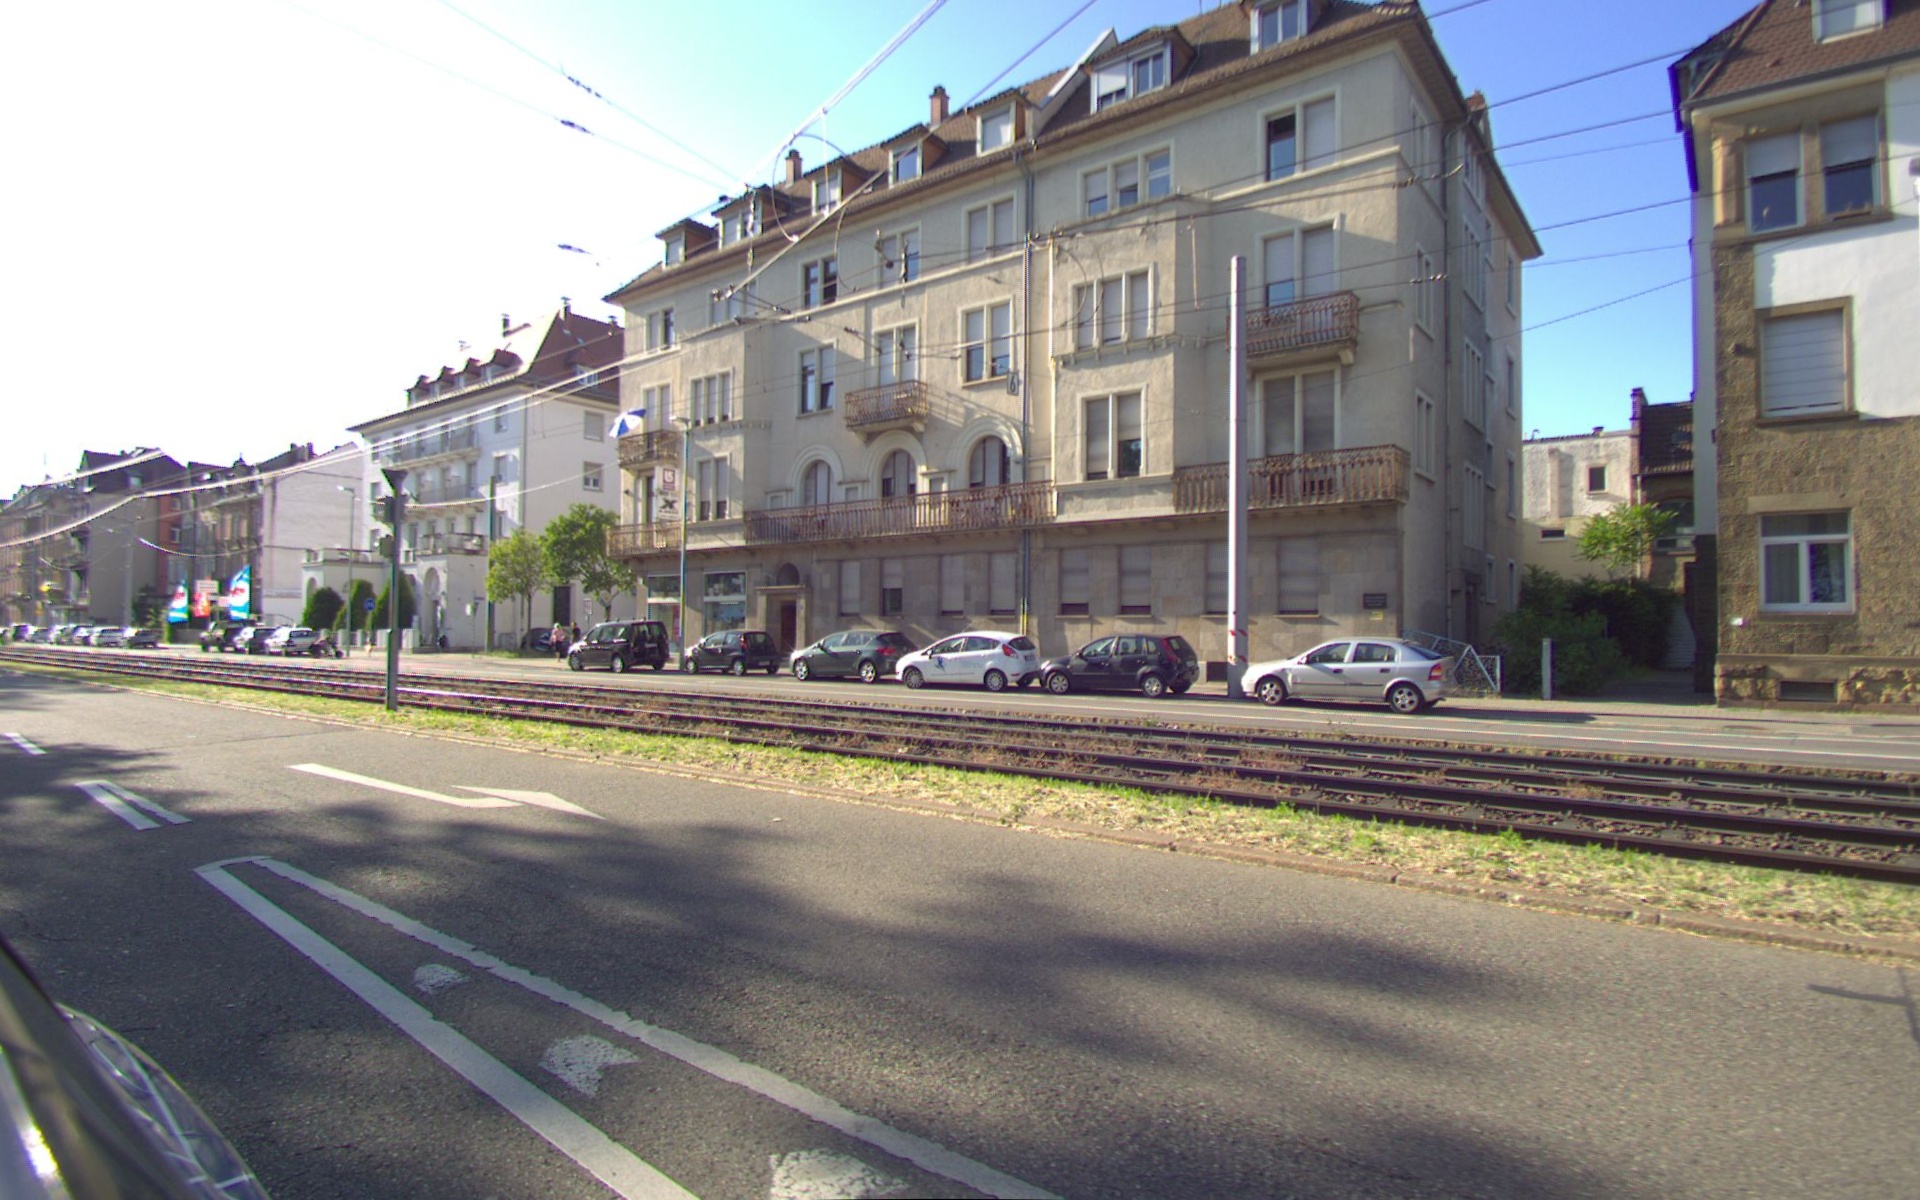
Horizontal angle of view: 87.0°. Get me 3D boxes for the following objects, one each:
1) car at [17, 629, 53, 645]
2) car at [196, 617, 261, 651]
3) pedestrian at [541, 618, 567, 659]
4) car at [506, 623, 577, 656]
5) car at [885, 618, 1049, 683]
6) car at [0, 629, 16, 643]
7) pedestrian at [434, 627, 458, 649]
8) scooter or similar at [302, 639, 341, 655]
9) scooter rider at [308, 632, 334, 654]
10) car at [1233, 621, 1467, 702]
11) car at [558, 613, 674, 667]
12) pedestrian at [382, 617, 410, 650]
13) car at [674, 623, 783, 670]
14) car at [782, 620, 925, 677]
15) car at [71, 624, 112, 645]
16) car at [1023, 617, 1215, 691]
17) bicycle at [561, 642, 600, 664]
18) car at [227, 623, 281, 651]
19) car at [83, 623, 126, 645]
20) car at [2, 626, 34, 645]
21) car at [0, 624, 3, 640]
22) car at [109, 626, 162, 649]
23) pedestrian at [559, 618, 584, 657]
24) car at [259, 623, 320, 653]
[{"bbox_3d":[-91.865,3.677,100.501,4.622,1.550,1.902,-1,-1,39],"label":"car"},{"bbox_3d":[-46.210,2.104,63.870,5.588,2.025,2.056,-1,0,40],"label":"car"},{"bbox_3d":[-17.443,1.638,43.475,0.849,1.709,0.589,0,0,12],"label":"pedestrian"},{"bbox_3d":[-23.405,2.191,56.493,4.256,1.653,1.777,1,-2,38],"label":"car"},{"bbox_3d":[0.159,1.275,26.193,3.970,1.480,1.623,-2,1,32],"label":"car"},{"bbox_3d":[-101.583,3.806,107.280,3.976,1.457,1.643,-1,-1,39],"label":"car"},{"bbox_3d":[-29.046,2.121,57.228,0.892,1.196,0.870,0,0,31],"label":"pedestrian"},{"bbox_3d":[-32.439,2.389,51.445,1.542,0.776,0.810,1,-3,-20],"label":"scooter or similar"},{"bbox_3d":[-32.475,2.194,51.436,0.962,1.097,0.810,1,-3,-20],"label":"scooter rider"},{"bbox_3d":[7.851,1.194,20.580,4.154,1.480,1.619,-2,-1,39],"label":"car"},{"bbox_3d":[-12.470,1.432,36.611,4.395,1.800,1.845,-2,-1,38],"label":"car"},{"bbox_3d":[-31.134,1.833,55.852,0.929,1.791,0.987,0,0,24],"label":"pedestrian"},{"bbox_3d":[-7.638,1.505,33.315,3.503,1.401,1.612,-1,1,37],"label":"car"},{"bbox_3d":[-3.142,1.368,29.435,4.153,1.480,1.620,-1,1,38],"label":"car"},{"bbox_3d":[-73.284,2.928,85.364,4.839,1.572,1.901,-3,-1,41],"label":"car"},{"bbox_3d":[3.705,1.223,23.848,4.148,1.479,1.622,-1,3,34],"label":"car"},{"bbox_3d":[-18.164,2.524,48.403,2.411,1.023,0.677,-2,-1,41],"label":"bicycle"},{"bbox_3d":[-41.565,2.164,59.581,4.156,1.518,1.618,0,0,40],"label":"car"},{"bbox_3d":[-68.950,2.747,81.532,4.839,1.707,1.901,-1,-1,41],"label":"car"},{"bbox_3d":[-97.104,3.658,104.328,4.720,1.821,1.644,-1,-1,37],"label":"car"},{"bbox_3d":[-108.871,3.605,113.355,3.993,1.821,1.778,-1,-1,37],"label":"car"},{"bbox_3d":[-61.685,2.772,75.697,4.833,1.471,1.903,-1,3,37],"label":"car"},{"bbox_3d":[-16.954,1.631,44.165,0.849,1.709,0.589,0,0,12],"label":"pedestrian"},{"bbox_3d":[-37.228,2.106,56.187,3.997,1.522,1.776,0,0,40],"label":"car"}]
